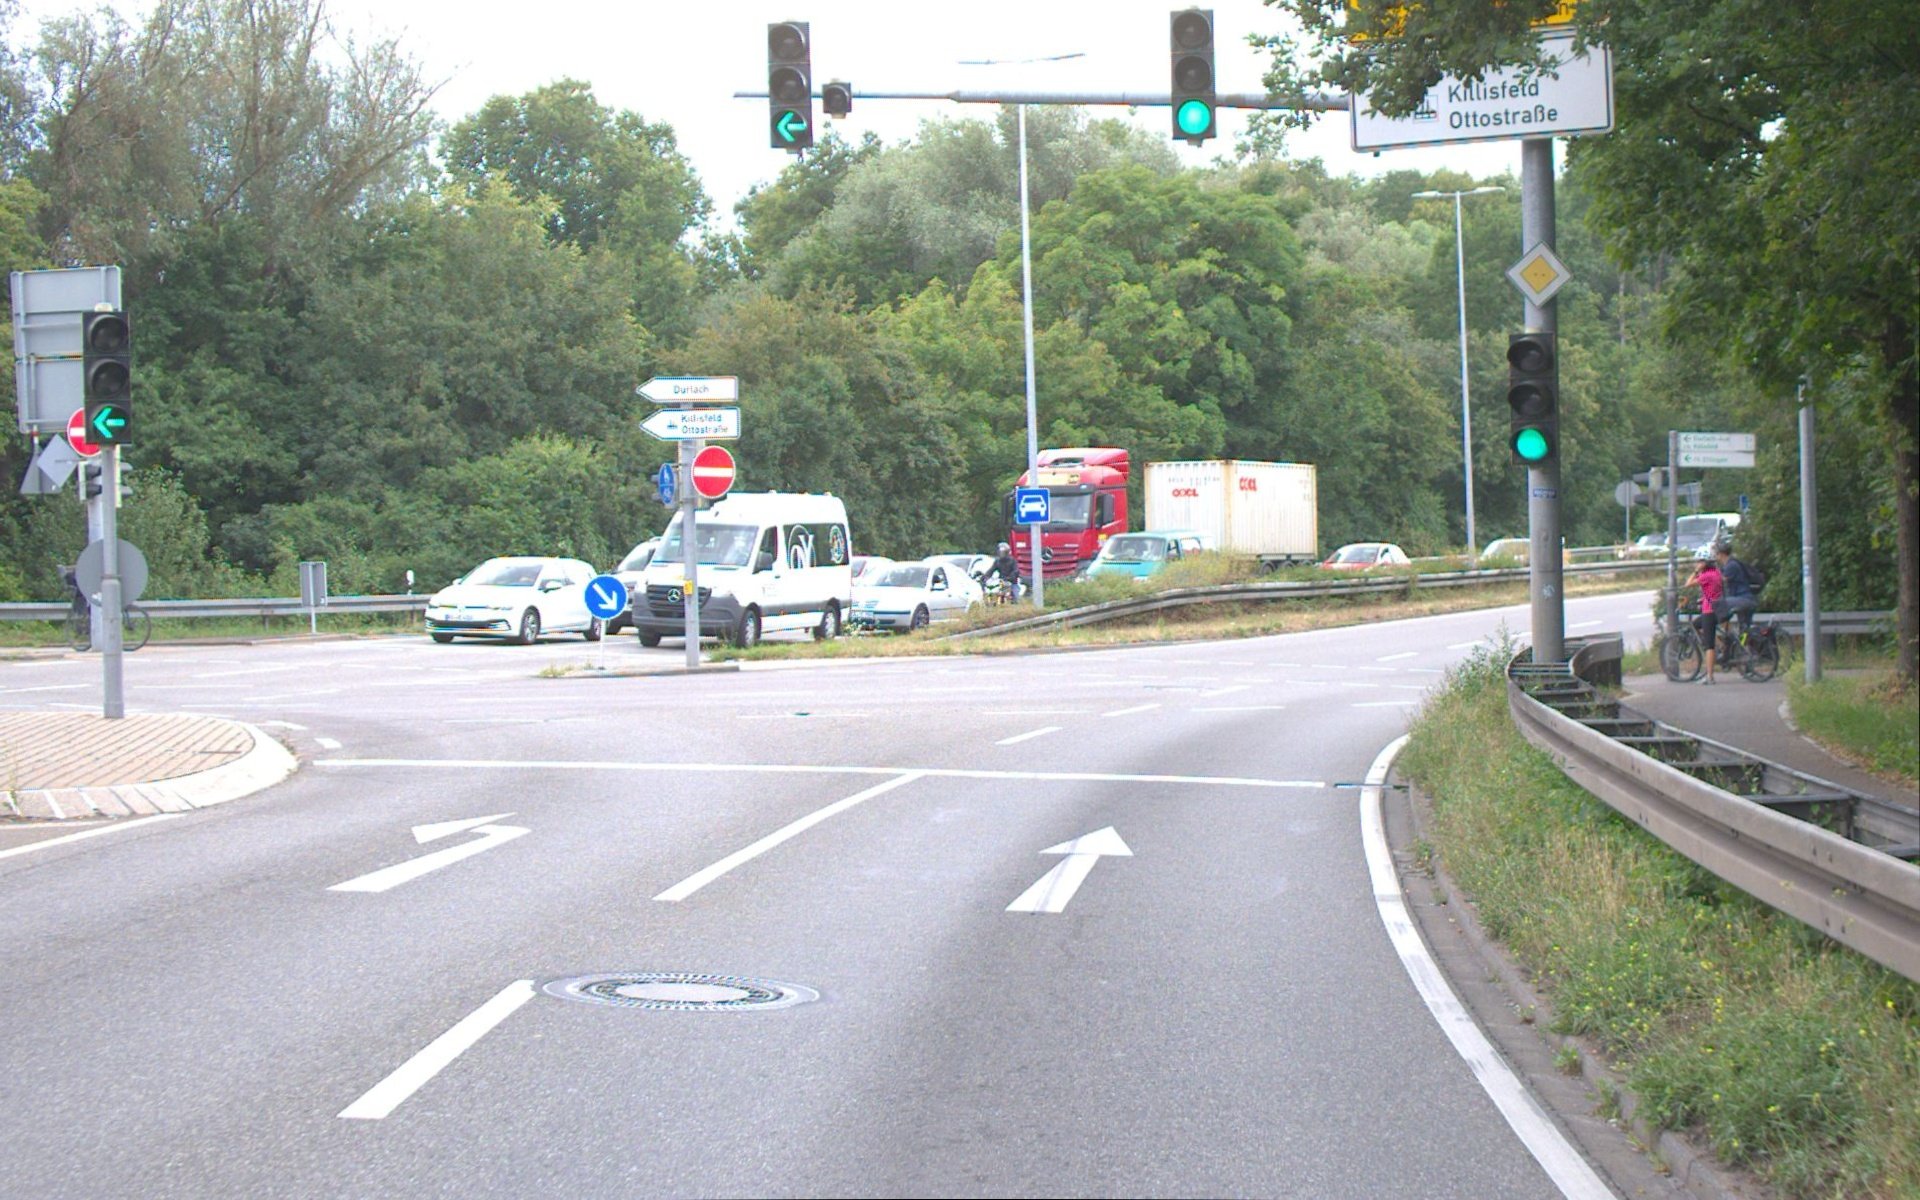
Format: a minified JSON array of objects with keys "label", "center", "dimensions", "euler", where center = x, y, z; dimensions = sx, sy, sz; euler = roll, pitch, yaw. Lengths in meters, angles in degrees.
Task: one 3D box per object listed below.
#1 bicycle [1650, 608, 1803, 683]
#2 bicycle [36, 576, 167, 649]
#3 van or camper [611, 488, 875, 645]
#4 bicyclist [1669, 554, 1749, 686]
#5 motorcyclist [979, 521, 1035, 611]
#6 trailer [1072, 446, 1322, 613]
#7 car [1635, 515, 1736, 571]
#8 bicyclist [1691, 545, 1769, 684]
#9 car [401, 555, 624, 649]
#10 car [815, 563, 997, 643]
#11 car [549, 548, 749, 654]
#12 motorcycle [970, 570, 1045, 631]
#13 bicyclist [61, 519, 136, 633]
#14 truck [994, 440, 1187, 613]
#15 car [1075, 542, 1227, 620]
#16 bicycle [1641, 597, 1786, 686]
[{"label":"bicycle","center":[10.406,0.622,46.694],"dimensions":[1.972,0.938,0.661],"euler":[-2,0,13]},{"label":"bicycle","center":[-13.202,0.190,52.864],"dimensions":[1.941,1.049,0.707],"euler":[-2,-1,27]},{"label":"van or camper","center":[-3.670,-0.591,59.765],"dimensions":[2.162,2.580,6.489],"euler":[0,1,20]},{"label":"bicyclist","center":[9.894,0.268,45.415],"dimensions":[0.852,1.726,0.636],"euler":[-1,0,30]},{"label":"motorcyclist","center":[0.961,-0.696,69.841],"dimensions":[0.866,1.817,0.924],"euler":[0,0,21]},{"label":"trailer","center":[6.363,-1.802,90.202],"dimensions":[2.538,4.133,10.756],"euler":[0,1,27]},{"label":"car","center":[24.367,-1.900,115.340],"dimensions":[2.012,1.857,5.270],"euler":[0,1,27]},{"label":"bicyclist","center":[10.454,0.188,46.699],"dimensions":[0.949,1.837,0.664],"euler":[-2,0,13]},{"label":"car","center":[-7.589,0.011,58.794],"dimensions":[1.995,1.541,4.534],"euler":[0,1,19]},{"label":"car","center":[-0.998,0.033,66.151],"dimensions":[1.996,1.493,4.395],"euler":[0,1,21]},{"label":"car","center":[-5.738,-0.008,63.943],"dimensions":[1.996,1.896,4.162],"euler":[0,1,23]},{"label":"motorcycle","center":[0.977,0.004,69.793],"dimensions":[0.800,1.220,2.324],"euler":[0,1,20]},{"label":"bicyclist","center":[-13.252,-0.365,52.904],"dimensions":[0.744,1.729,0.799],"euler":[-1,0,27]},{"label":"truck","center":[3.248,-1.769,84.113],"dimensions":[2.572,4.069,5.614],"euler":[0,1,27]},{"label":"car","center":[4.444,-0.454,79.241],"dimensions":[1.806,1.723,4.954],"euler":[0,1,24]},{"label":"bicycle","center":[9.945,0.548,45.390],"dimensions":[1.745,1.134,0.629],"euler":[-1,0,30]}]
